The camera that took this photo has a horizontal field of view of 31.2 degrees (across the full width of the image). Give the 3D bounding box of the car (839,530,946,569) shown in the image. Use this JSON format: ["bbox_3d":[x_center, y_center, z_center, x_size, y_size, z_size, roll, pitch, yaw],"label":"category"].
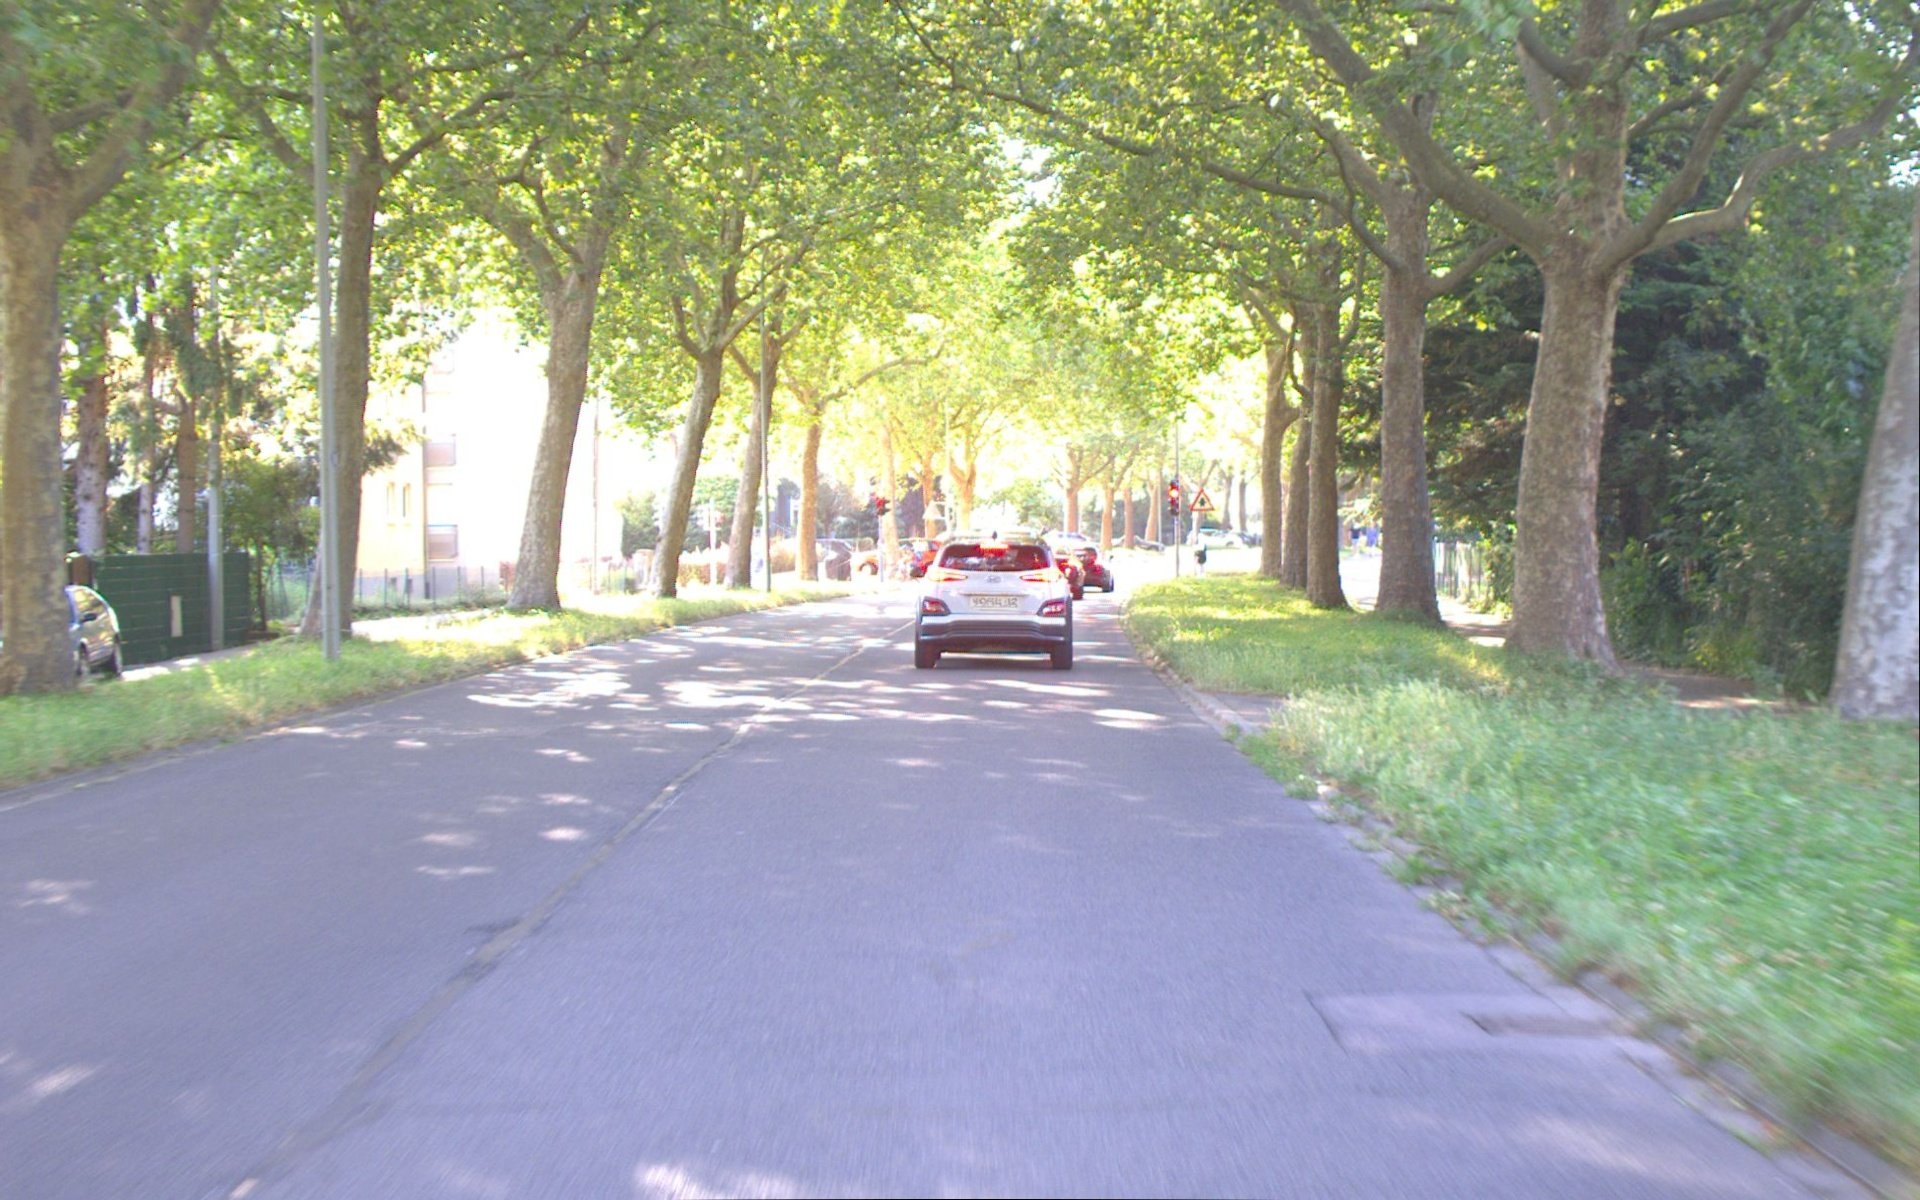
[{"bbox_3d":[-2.631,-1.961,134.446,3.987,1.473,2.000,1,1,5],"label":"car"}]

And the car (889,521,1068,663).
[{"bbox_3d":[0.255,-0.117,40.512,1.993,1.569,4.000,1,1,1],"label":"car"}]

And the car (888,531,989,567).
[{"bbox_3d":[-0.893,-2.154,144.635,3.988,1.473,1.999,1,1,8],"label":"car"}]

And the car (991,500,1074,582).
[{"bbox_3d":[1.848,-1.474,86.604,1.994,2.007,4.000,1,1,2],"label":"car"}]

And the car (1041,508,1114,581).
[{"bbox_3d":[3.332,-1.580,98.128,1.993,2.007,4.000,1,1,1],"label":"car"}]

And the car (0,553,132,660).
[{"bbox_3d":[-12.738,0.071,47.466,1.752,1.300,4.001,-1,2,-2],"label":"car"}]

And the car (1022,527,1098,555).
[{"bbox_3d":[5.431,-3.202,186.005,3.987,1.473,2.000,1,1,5],"label":"car"}]

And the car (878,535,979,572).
[{"bbox_3d":[-1.281,-1.928,141.662,3.987,1.473,2.000,1,1,5],"label":"car"}]
